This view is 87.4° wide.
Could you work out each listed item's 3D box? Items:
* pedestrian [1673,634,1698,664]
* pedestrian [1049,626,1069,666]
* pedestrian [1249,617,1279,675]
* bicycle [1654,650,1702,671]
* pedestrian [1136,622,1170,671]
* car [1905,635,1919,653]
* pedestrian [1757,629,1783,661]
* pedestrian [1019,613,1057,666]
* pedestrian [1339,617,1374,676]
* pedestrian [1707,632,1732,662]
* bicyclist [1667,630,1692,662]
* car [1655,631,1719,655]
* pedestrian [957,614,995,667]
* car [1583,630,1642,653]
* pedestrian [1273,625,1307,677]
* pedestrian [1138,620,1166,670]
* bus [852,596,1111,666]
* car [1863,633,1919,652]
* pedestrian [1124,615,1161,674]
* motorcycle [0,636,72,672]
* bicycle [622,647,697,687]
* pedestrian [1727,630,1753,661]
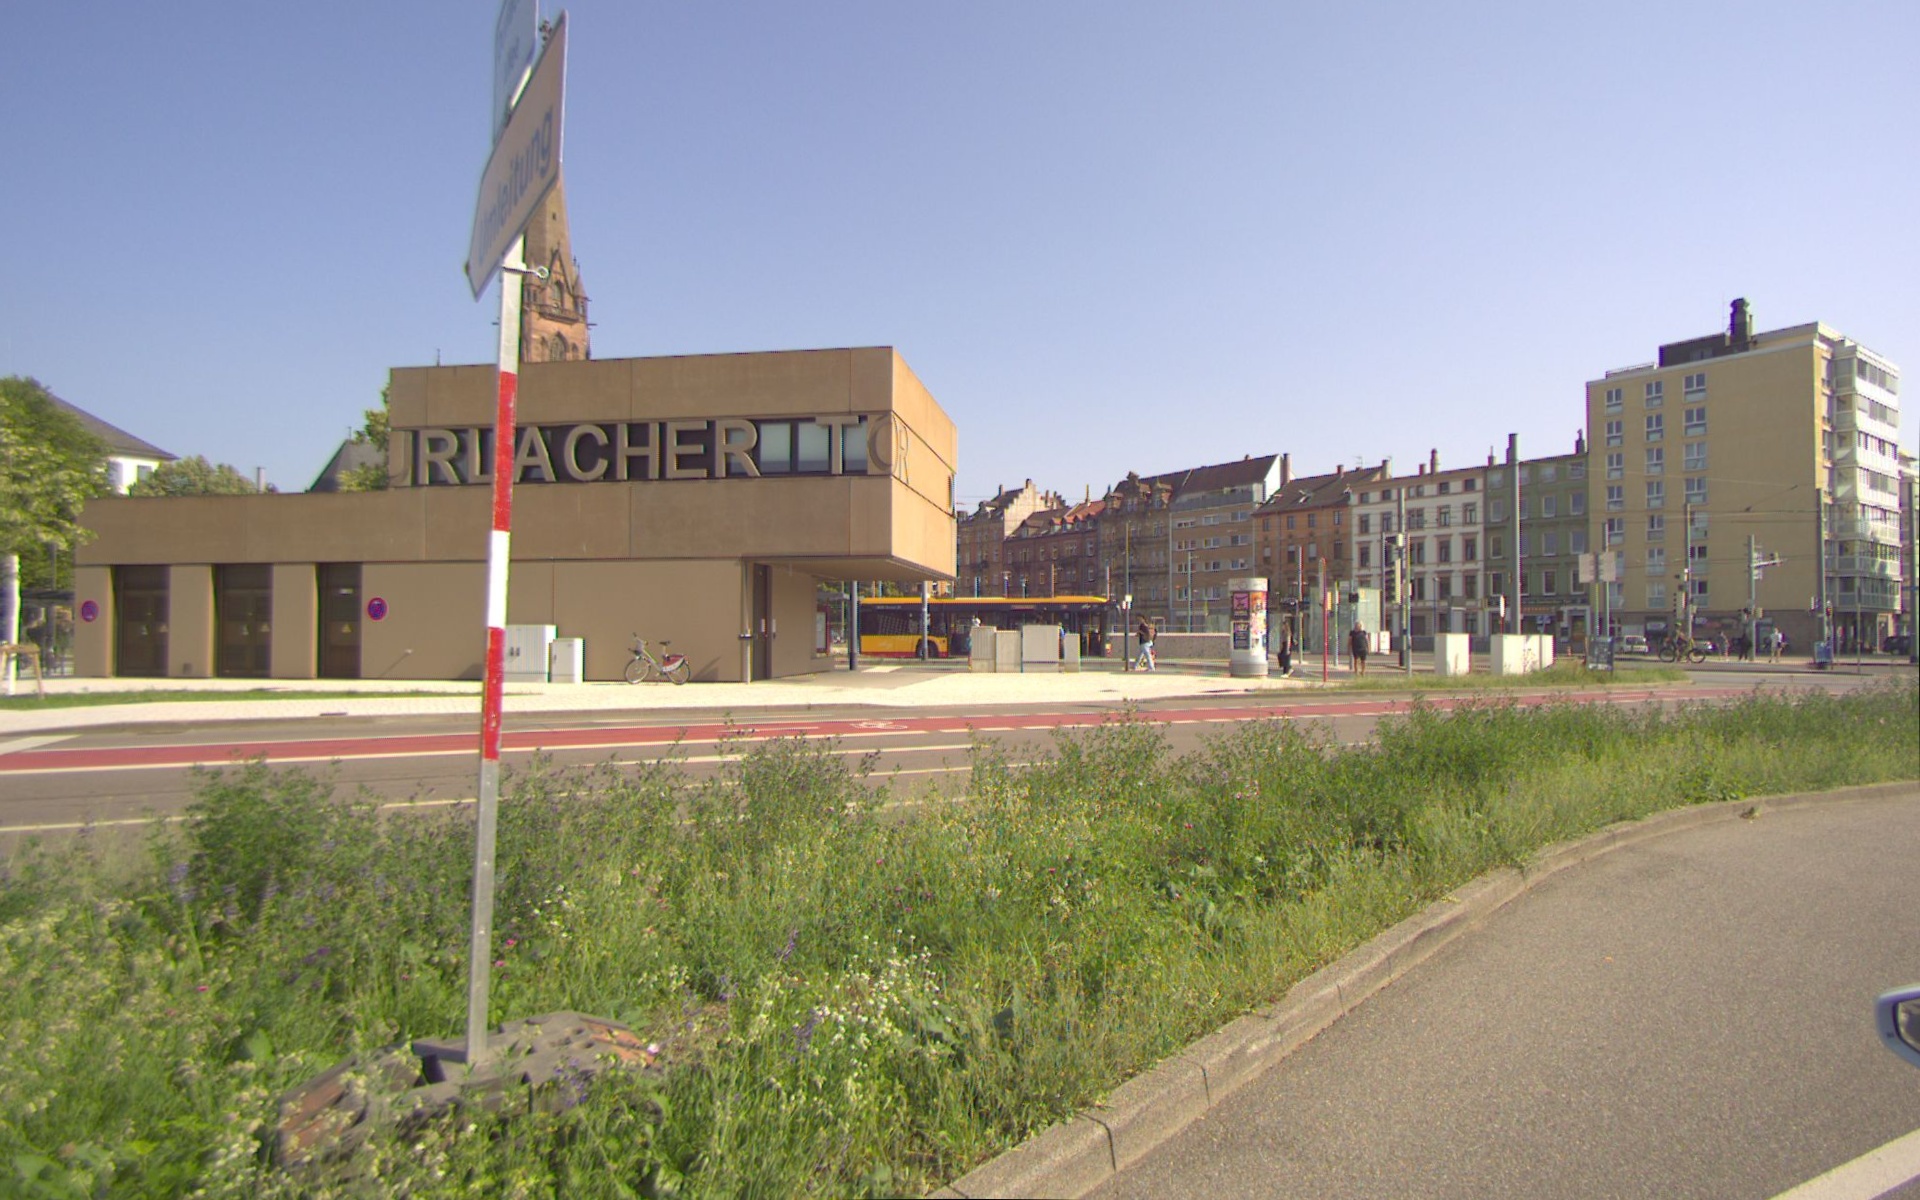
[{"bbox_3d":[42.409,2.837,58.711,0.913,1.712,0.916,1,-1,-36],"label":"pedestrian"},{"bbox_3d":[4.422,2.050,44.849,0.819,1.761,0.831,0,-2,10],"label":"pedestrian"},{"bbox_3d":[9.779,1.481,32.345,0.764,1.824,0.800,0,-2,4],"label":"pedestrian"},{"bbox_3d":[35.081,2.944,49.090,0.717,0.944,1.805,1,-2,-29],"label":"bicycle"},{"bbox_3d":[6.289,1.506,32.804,0.849,1.583,0.989,0,-2,-5],"label":"pedestrian"},{"bbox_3d":[74.054,3.315,75.598,1.563,1.372,4.127,1,-2,-37],"label":"car"},{"bbox_3d":[44.916,2.486,55.678,0.913,1.712,0.916,1,-1,-36],"label":"pedestrian"},{"bbox_3d":[2.567,1.307,33.247,0.856,1.727,0.982,1,-2,-31],"label":"pedestrian"},{"bbox_3d":[12.613,1.472,31.985,0.692,1.824,0.775,1,-2,-26],"label":"pedestrian"},{"bbox_3d":[43.926,2.685,58.093,0.913,1.712,0.916,1,-1,-36],"label":"pedestrian"},{"bbox_3d":[35.124,2.221,49.033,0.717,1.547,0.791,1,-2,-30],"label":"bicyclist"},{"bbox_3d":[52.540,3.087,72.705,1.959,1.701,4.553,0,-1,10],"label":"car"},{"bbox_3d":[0.528,1.320,32.830,0.856,1.694,0.982,1,-2,-31],"label":"pedestrian"},{"bbox_3d":[49.951,3.173,77.002,1.959,1.701,4.553,0,-1,6],"label":"car"},{"bbox_3d":[10.159,1.568,30.955,0.970,1.579,0.866,0,-2,16],"label":"pedestrian"},{"bbox_3d":[7.058,1.662,36.949,0.692,1.824,0.775,1,-2,-26],"label":"pedestrian"},{"bbox_3d":[1.056,1.467,47.553,11.966,3.149,2.719,0,-2,9],"label":"bus"},{"bbox_3d":[68.477,3.073,72.904,1.468,1.372,4.127,1,-2,-37],"label":"car"},{"bbox_3d":[5.665,1.390,31.233,0.850,1.793,0.988,0,-2,-10],"label":"pedestrian"},{"bbox_3d":[-32.041,1.833,34.505,2.328,1.221,0.760,0,-2,0],"label":"motorcycle"},{"bbox_3d":[-6.775,1.497,22.655,1.516,0.849,0.593,0,1,10],"label":"bicycle"},{"bbox_3d":[44.301,2.584,57.049,0.913,1.712,0.916,1,-1,-36],"label":"pedestrian"}]
